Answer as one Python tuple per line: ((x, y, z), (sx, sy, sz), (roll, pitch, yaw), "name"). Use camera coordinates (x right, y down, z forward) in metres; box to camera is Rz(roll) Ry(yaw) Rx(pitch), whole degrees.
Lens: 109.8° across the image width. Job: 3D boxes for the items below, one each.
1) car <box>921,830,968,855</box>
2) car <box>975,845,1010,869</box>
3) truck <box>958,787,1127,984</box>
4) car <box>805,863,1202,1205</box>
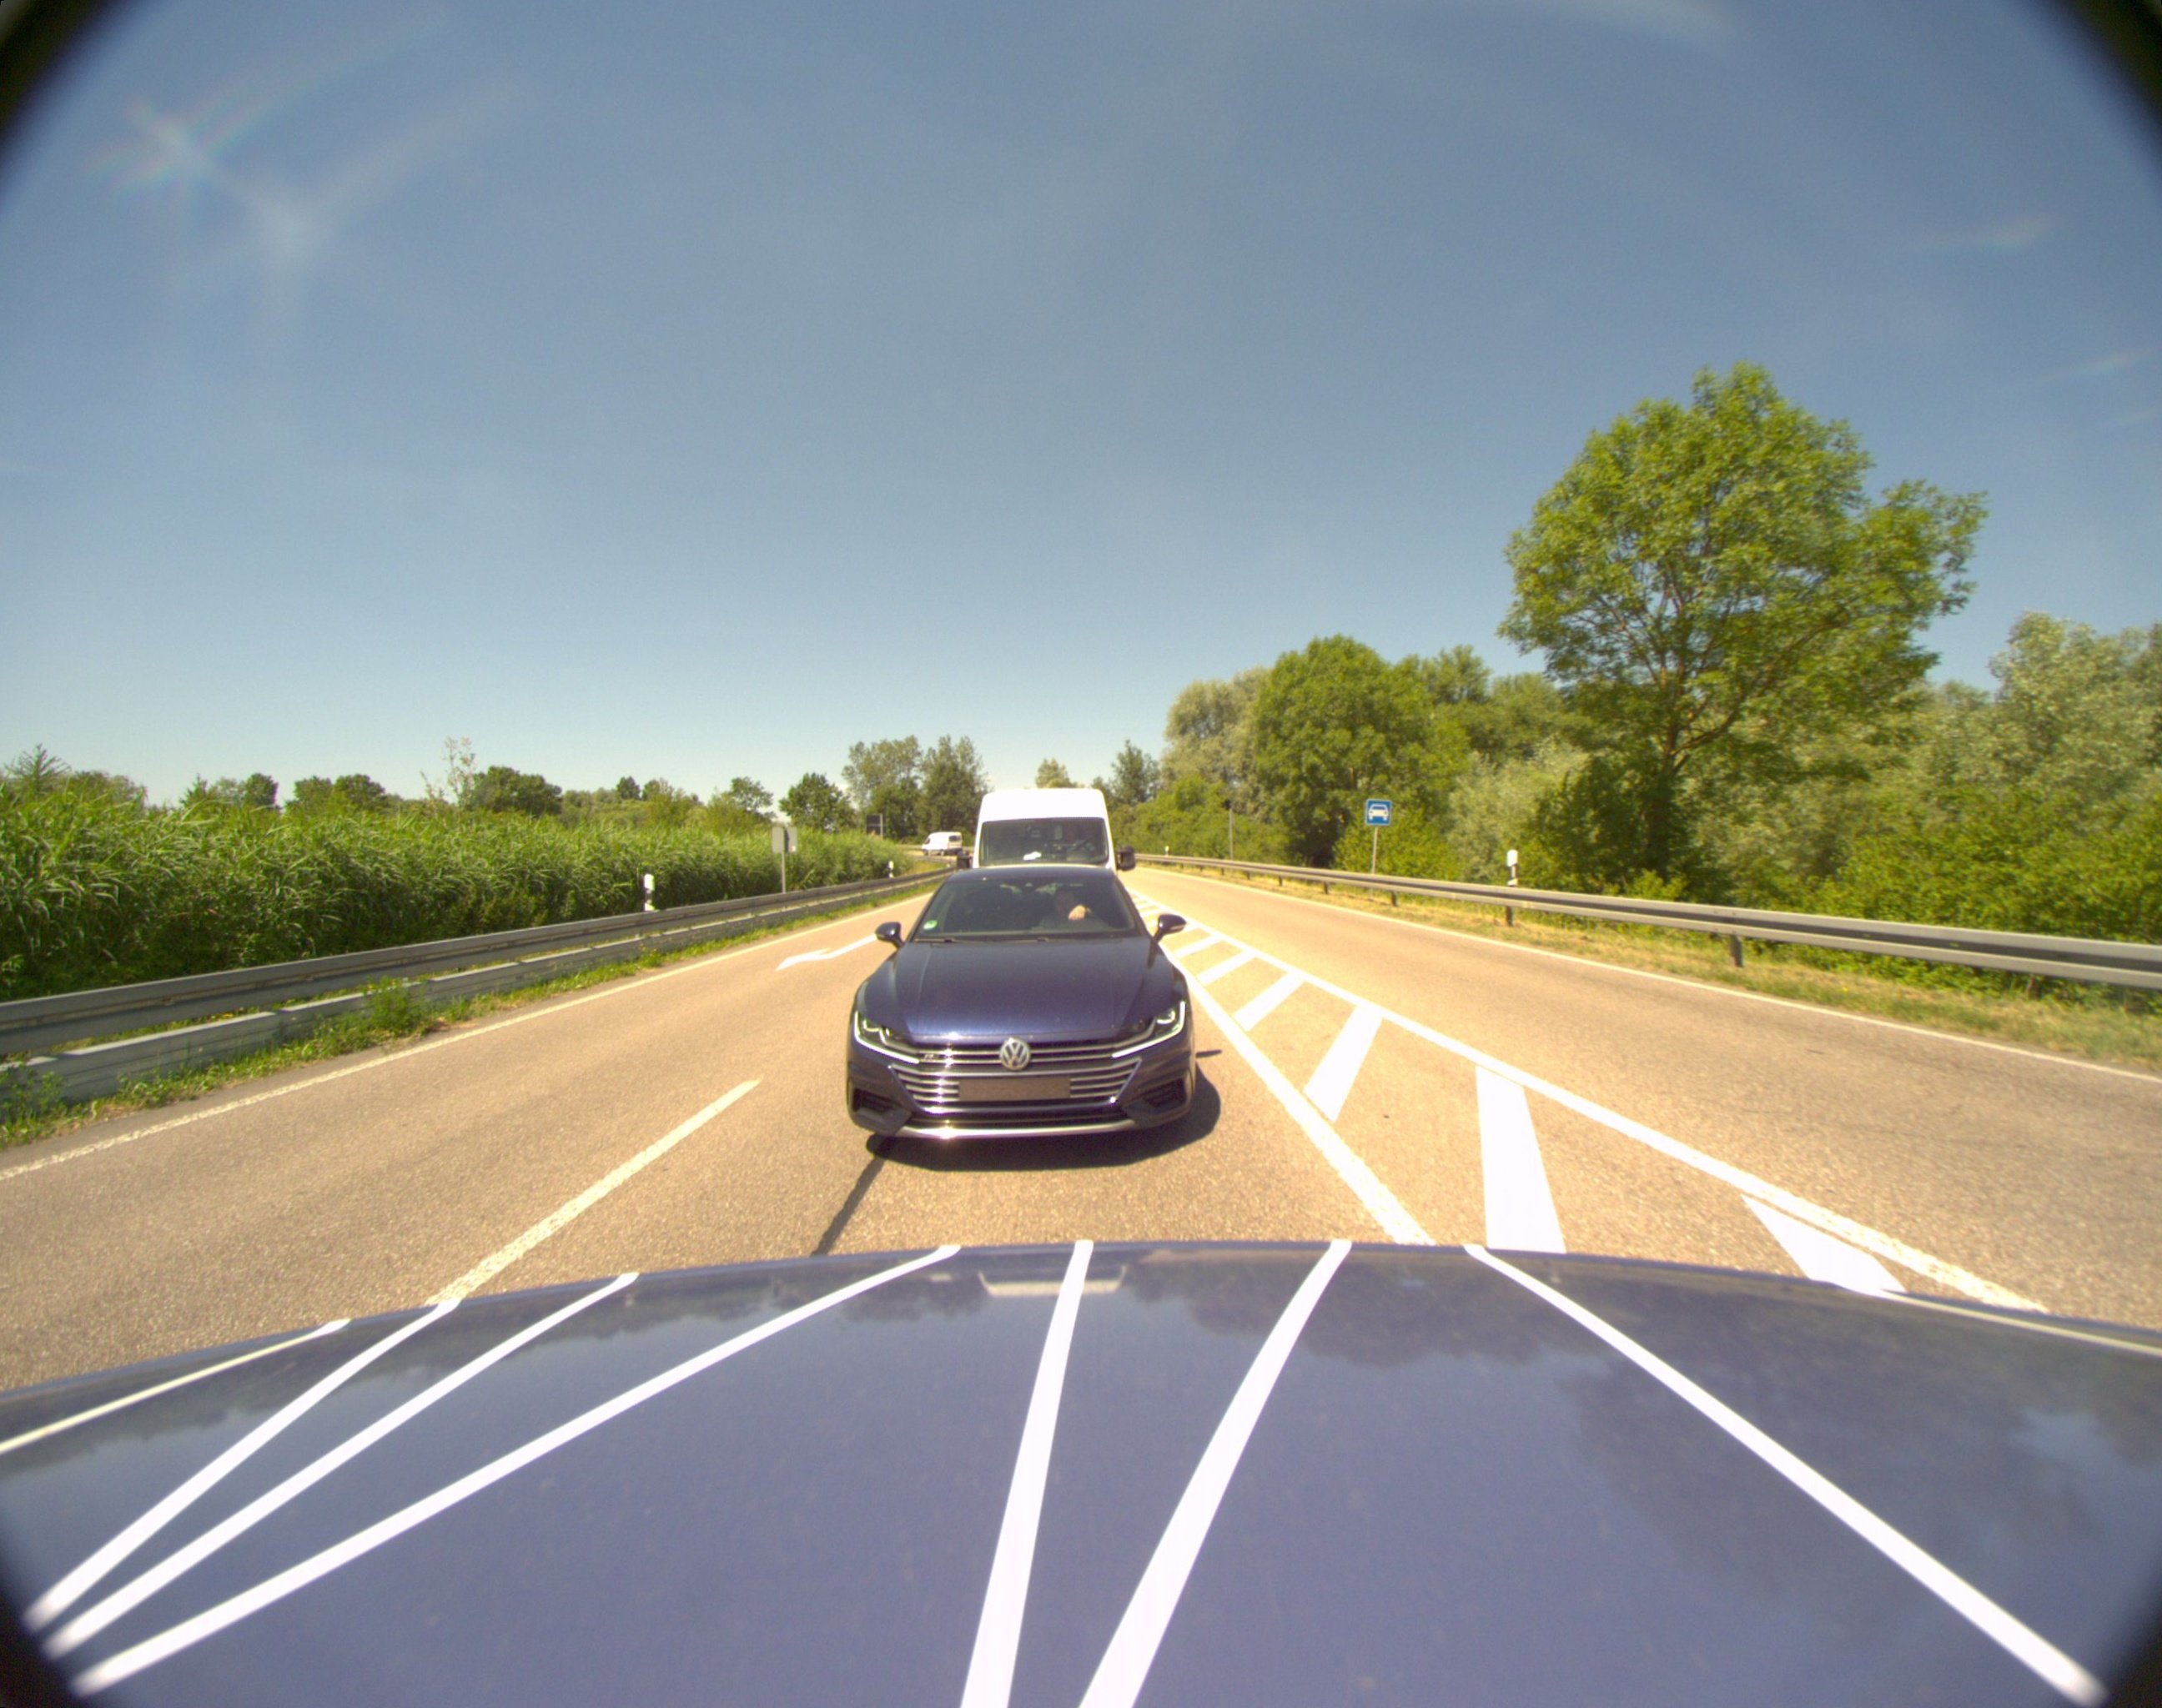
((-15.041, -1.226, 83.416), (5.574, 2.403, 2.003), (-2, 5, 44), "car")
((-6.366, 0.214, 54.286), (1.675, 1.591, 3.547), (-2, 1, -19), "car")
((-0.654, 0.352, 12.293), (2.011, 2.365, 5.909), (-2, 1, -4), "truck")
((-0.333, 0.873, 5.759), (1.819, 1.454, 4.415), (-2, 1, 1), "car")
